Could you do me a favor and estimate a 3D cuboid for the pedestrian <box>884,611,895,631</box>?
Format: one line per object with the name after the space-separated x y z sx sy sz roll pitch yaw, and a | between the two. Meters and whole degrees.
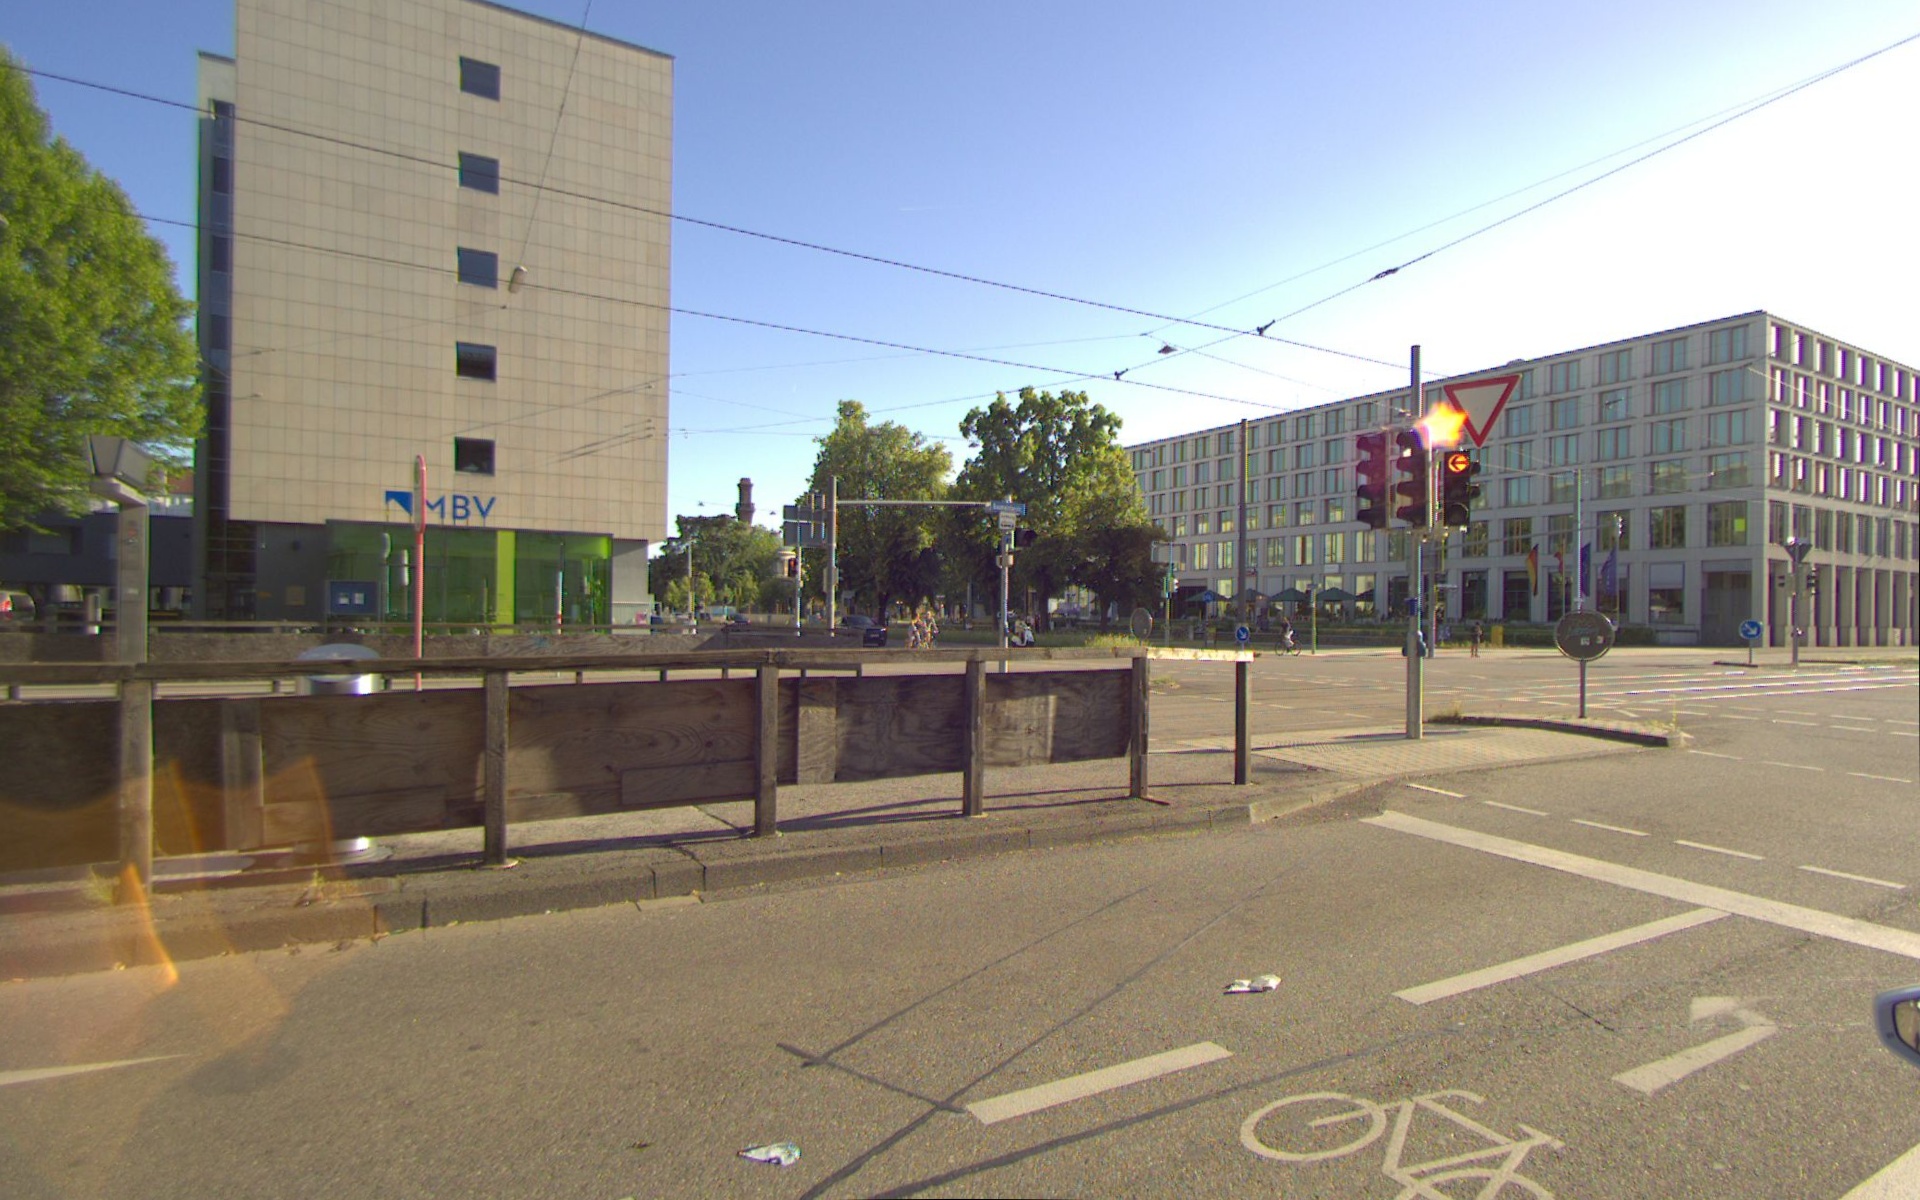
-7.288 2.141 103.423 0.816 2.040 0.837 2 0 -32 | pedestrian

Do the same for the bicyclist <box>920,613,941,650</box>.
-1.242 1.334 42.219 0.602 1.544 0.709 1 -1 -32 | bicyclist

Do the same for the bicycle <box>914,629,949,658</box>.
-1.208 1.820 42.140 0.616 1.148 1.869 1 -1 -31 | bicycle

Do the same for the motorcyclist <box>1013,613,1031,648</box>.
2.889 1.405 46.832 0.561 1.598 0.643 1 -1 -33 | motorcyclist

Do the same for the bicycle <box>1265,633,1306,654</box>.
15.574 2.083 48.102 1.826 0.947 0.763 0 -1 12 | bicycle

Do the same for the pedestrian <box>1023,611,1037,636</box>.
5.559 1.842 79.605 0.865 1.925 0.712 2 0 -31 | pedestrian

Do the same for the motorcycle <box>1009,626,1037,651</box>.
2.912 1.784 46.805 0.524 1.153 1.449 1 -1 -34 | motorcycle

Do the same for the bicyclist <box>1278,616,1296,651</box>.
15.650 1.595 48.089 0.762 1.610 0.762 1 -1 12 | bicyclist

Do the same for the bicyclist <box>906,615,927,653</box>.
-1.798 1.395 41.694 0.647 1.544 0.615 1 -1 -32 | bicyclist

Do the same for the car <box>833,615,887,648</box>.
-5.395 1.656 53.743 1.611 1.639 3.623 2 0 -28 | car

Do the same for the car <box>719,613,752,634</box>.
-18.938 1.938 84.631 1.613 1.639 3.618 2 0 -32 | car

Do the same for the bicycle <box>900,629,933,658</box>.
-1.820 1.790 41.718 0.574 1.148 1.776 1 -1 -31 | bicycle

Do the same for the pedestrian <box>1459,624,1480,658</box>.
24.910 2.004 49.103 0.586 1.610 0.769 1 -1 -40 | pedestrian
